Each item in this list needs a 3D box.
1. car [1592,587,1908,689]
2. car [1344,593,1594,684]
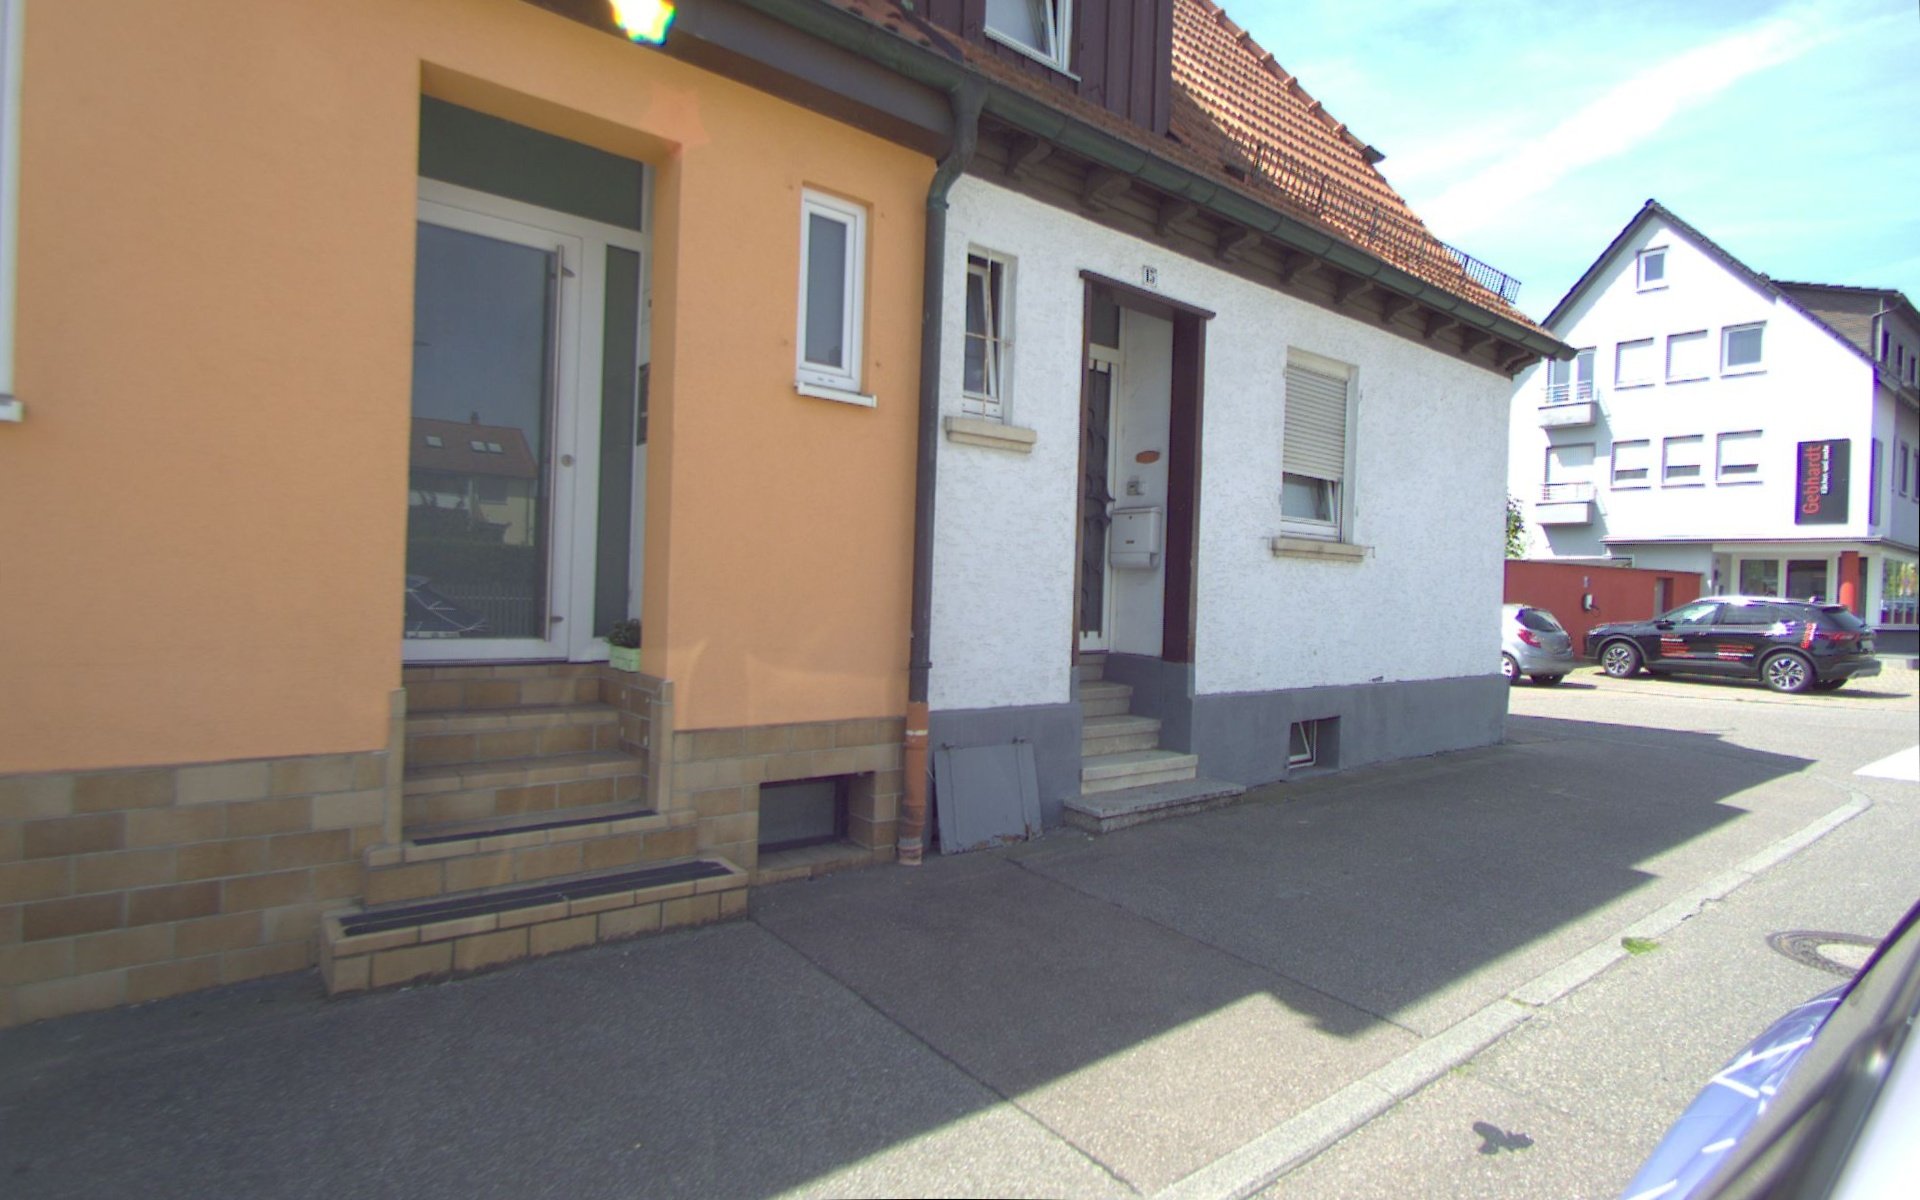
[{"bbox_3d":[14.564,0.610,18.941,1.811,1.674,4.311,0,0,-31],"label":"car"},{"bbox_3d":[9.610,0.672,19.421,1.660,1.523,4.004,2,0,-30],"label":"car"}]
